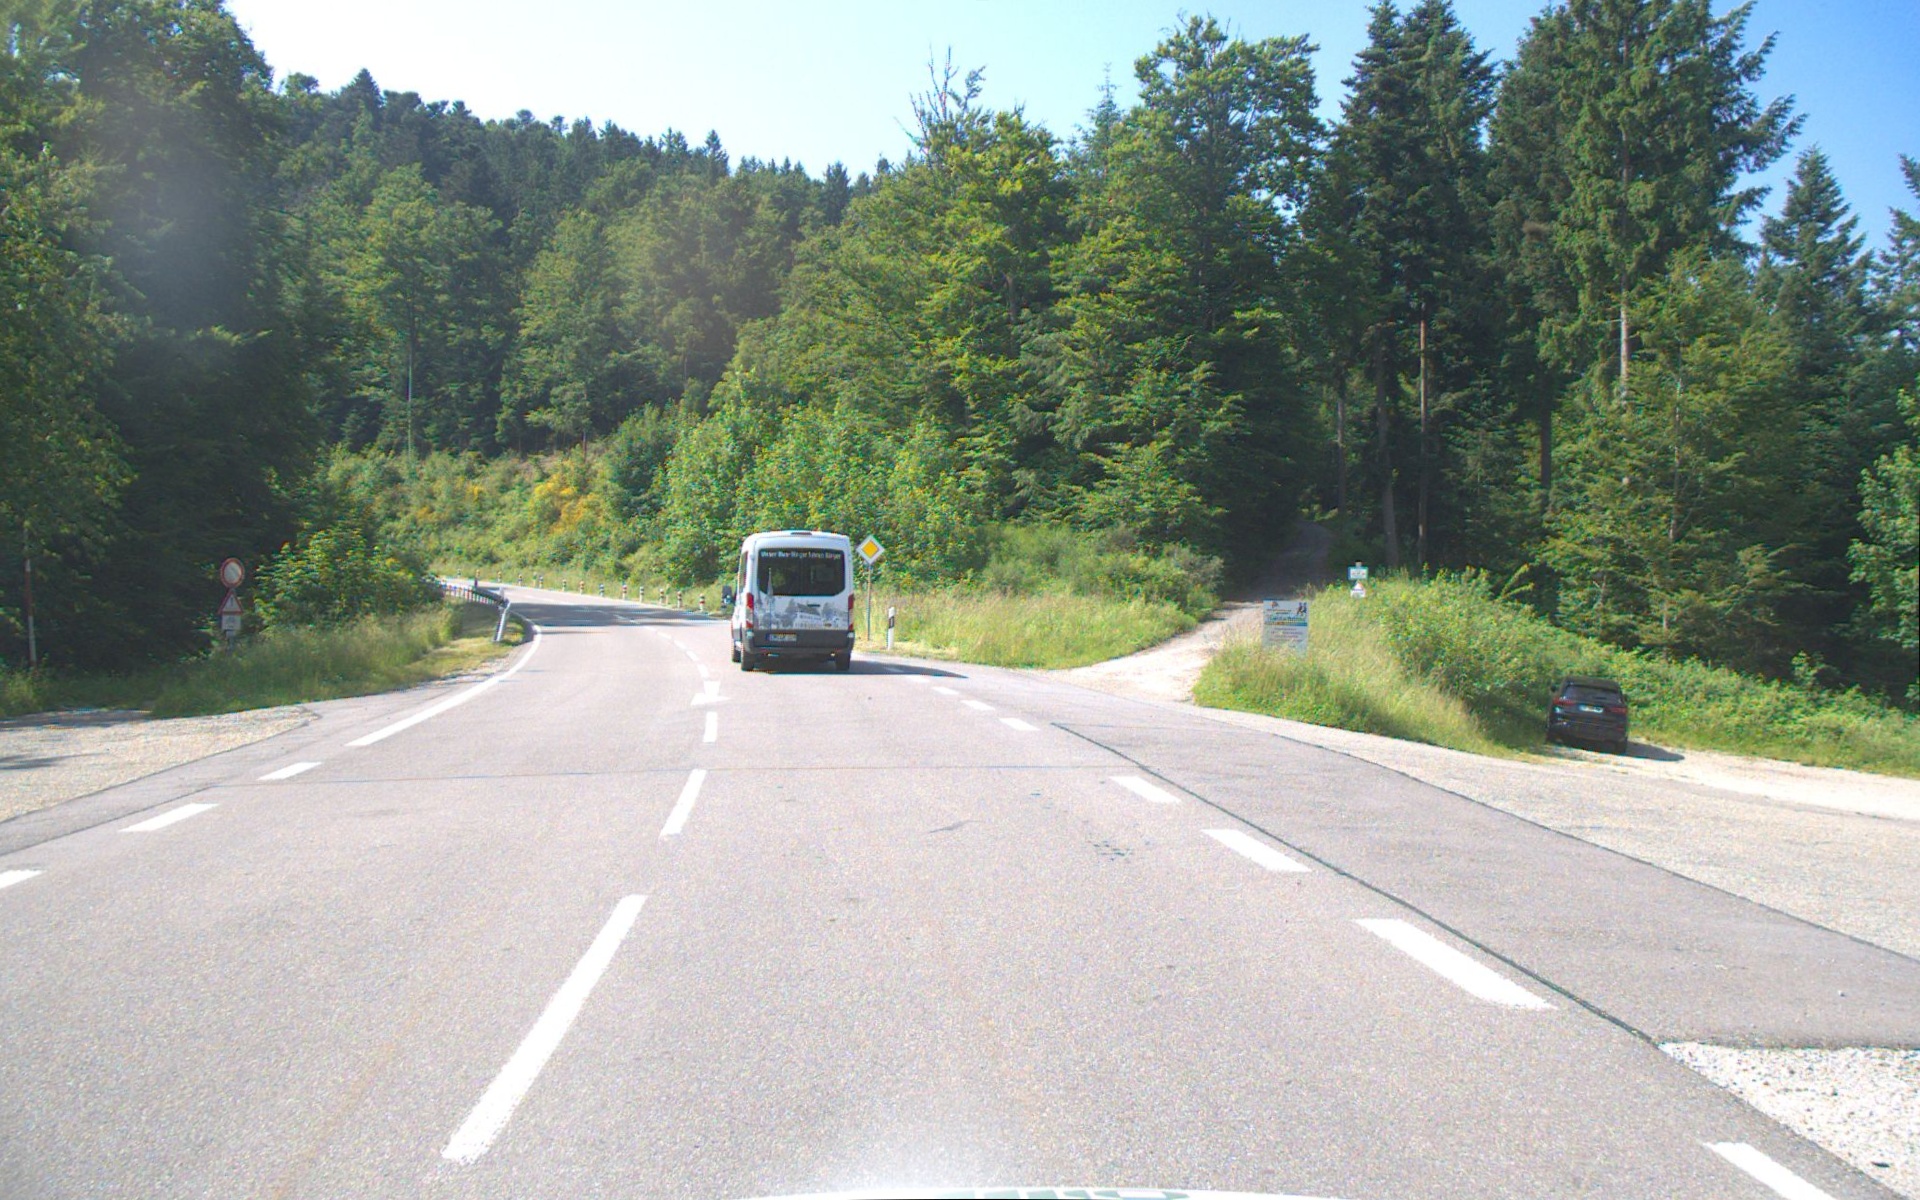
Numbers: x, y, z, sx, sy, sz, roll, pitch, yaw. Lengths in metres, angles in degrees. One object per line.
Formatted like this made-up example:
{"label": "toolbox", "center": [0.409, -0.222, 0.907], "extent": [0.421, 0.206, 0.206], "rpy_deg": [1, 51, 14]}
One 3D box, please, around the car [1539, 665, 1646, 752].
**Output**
{"label": "car", "center": [15.190, 2.543, 39.613], "extent": [1.896, 1.620, 3.996], "rpy_deg": [7, 2, 26]}

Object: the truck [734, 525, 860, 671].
{"label": "truck", "center": [-3.205, -0.045, 31.509], "extent": [2.076, 2.542, 5.348], "rpy_deg": [0, 0, -9]}
